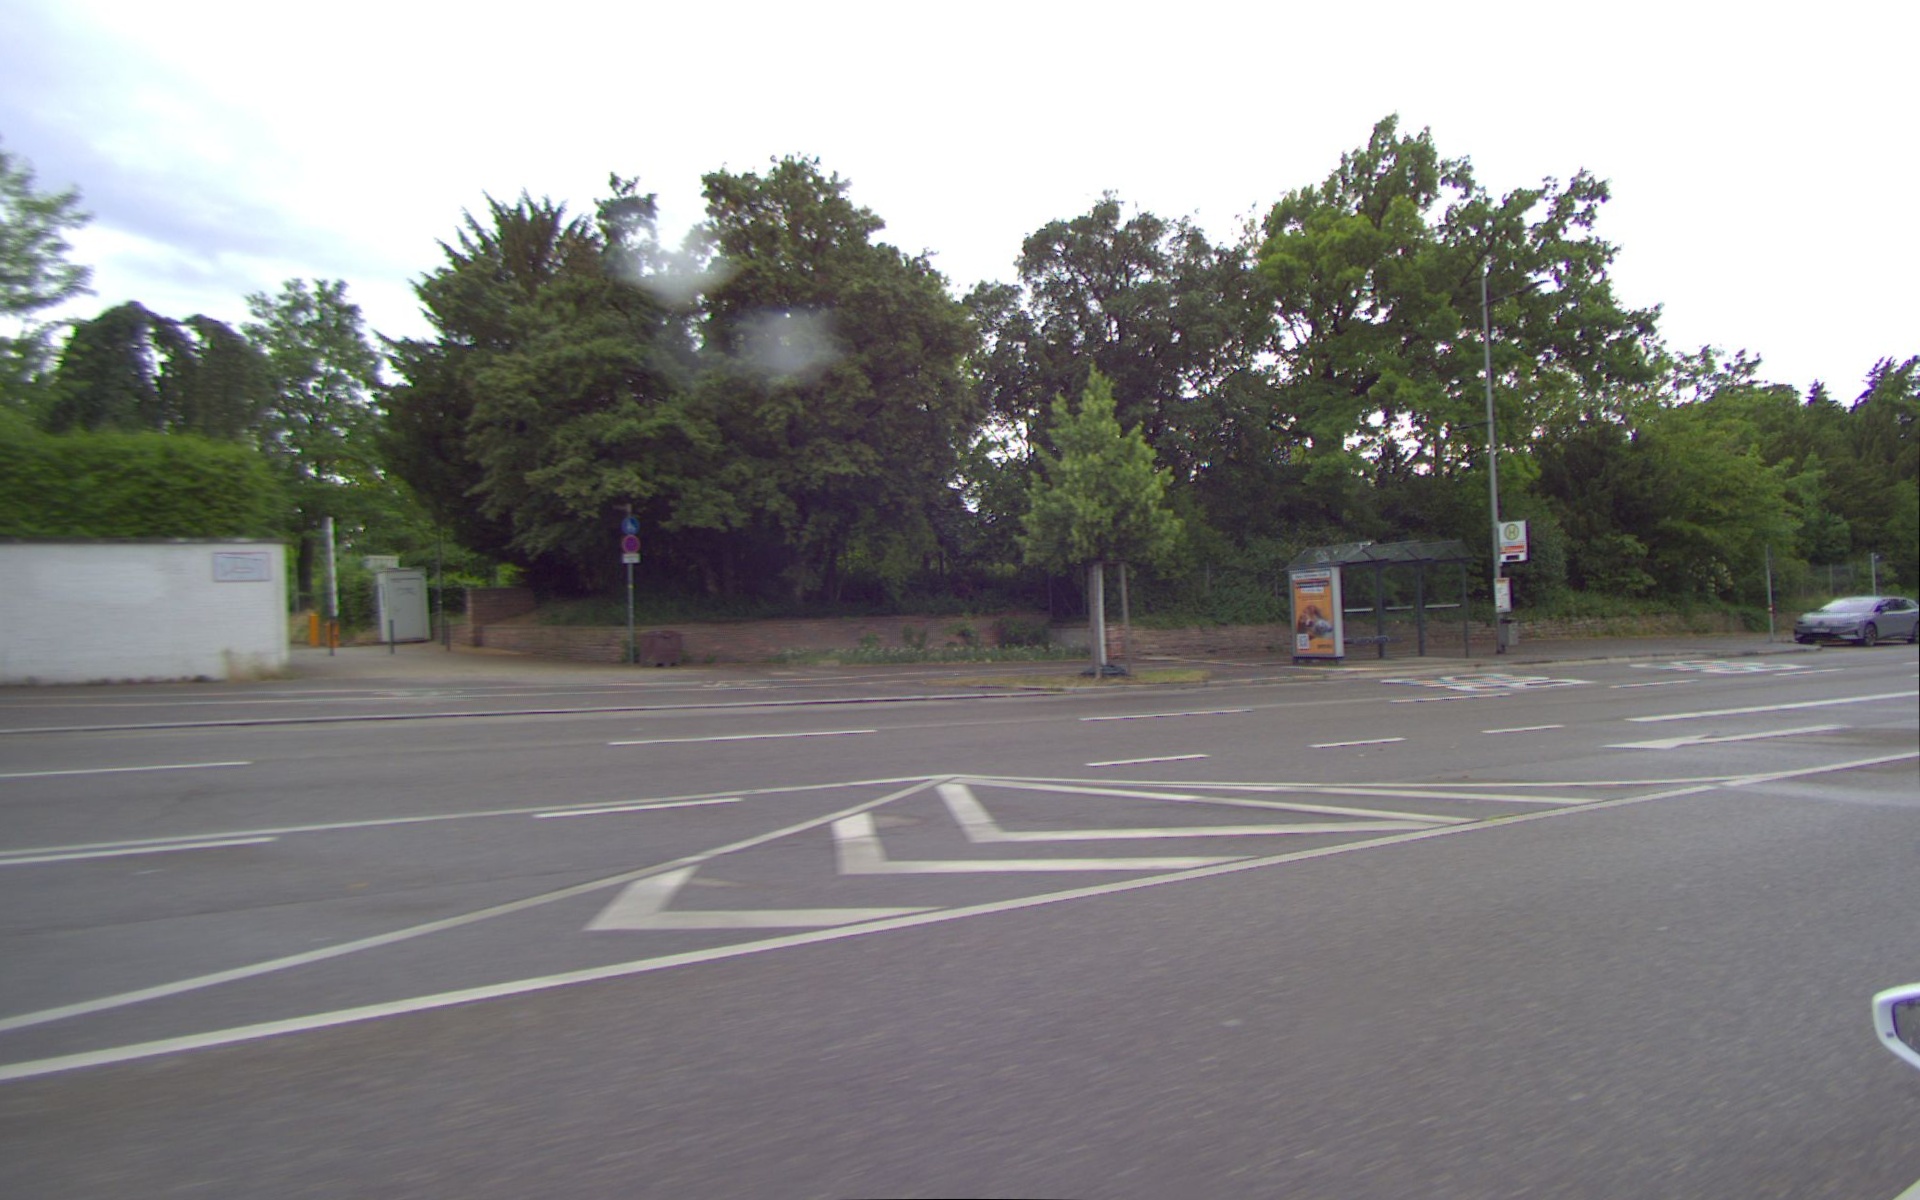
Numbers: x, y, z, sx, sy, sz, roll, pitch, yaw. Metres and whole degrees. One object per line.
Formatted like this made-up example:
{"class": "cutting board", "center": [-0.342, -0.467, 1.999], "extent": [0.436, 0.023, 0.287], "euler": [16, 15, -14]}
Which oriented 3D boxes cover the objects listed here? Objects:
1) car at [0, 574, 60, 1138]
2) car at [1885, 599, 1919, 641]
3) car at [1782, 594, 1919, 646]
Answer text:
{"class": "car", "center": [-4.035, 0.618, 1.104], "extent": [4.251, 1.460, 1.860], "euler": [2, 0, -34]}
{"class": "car", "center": [34.592, 0.681, 34.944], "extent": [4.717, 1.433, 1.901], "euler": [0, 0, -25]}
{"class": "car", "center": [29.140, 0.602, 32.630], "extent": [4.861, 1.610, 1.835], "euler": [0, 0, -25]}
